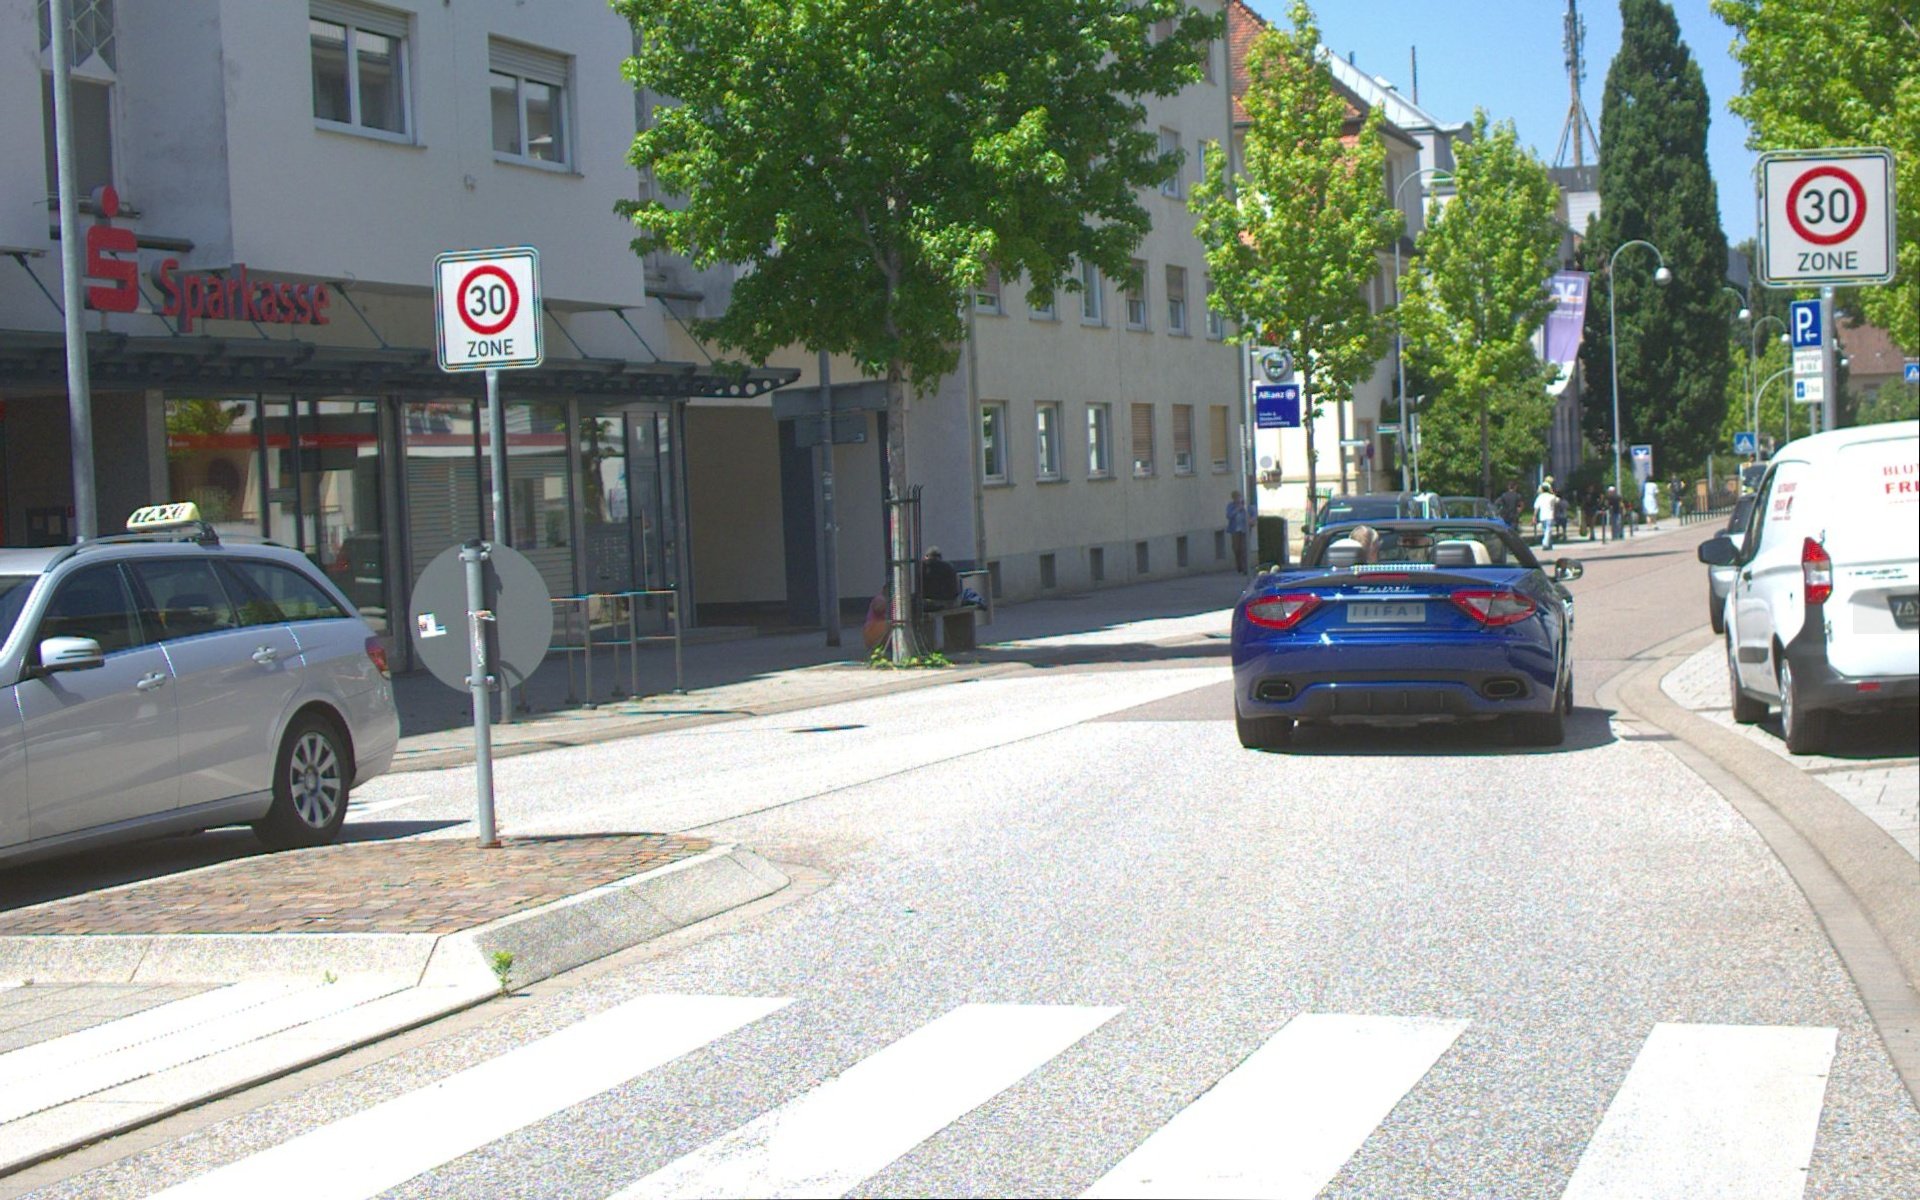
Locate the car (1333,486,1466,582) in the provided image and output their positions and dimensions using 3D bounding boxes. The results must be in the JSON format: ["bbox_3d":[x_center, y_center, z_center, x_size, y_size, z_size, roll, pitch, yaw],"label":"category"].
[{"bbox_3d":[8.231,-1.250,64.087,1.825,1.614,4.390,-1,3,16],"label":"car"}]

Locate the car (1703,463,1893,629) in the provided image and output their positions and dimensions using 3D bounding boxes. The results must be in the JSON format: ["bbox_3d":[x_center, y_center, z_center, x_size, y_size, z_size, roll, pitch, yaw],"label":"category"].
[{"bbox_3d":[8.732,-0.600,35.657,1.624,1.553,3.838,-3,1,17],"label":"car"}]

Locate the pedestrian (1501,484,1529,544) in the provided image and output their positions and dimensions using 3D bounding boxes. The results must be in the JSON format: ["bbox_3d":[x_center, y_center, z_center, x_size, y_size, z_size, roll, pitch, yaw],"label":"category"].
[{"bbox_3d":[13.993,-2.176,86.723,0.579,1.469,0.564,-2,2,16],"label":"pedestrian"}]

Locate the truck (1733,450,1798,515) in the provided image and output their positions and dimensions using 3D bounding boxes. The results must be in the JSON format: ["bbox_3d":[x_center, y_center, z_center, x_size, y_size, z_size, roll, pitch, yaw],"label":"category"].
[{"bbox_3d":[28.607,-4.199,122.032,1.806,2.110,4.712,-3,2,17],"label":"truck"}]

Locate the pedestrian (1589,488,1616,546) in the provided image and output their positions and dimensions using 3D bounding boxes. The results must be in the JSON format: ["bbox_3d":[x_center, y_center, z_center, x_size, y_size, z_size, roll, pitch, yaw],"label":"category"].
[{"bbox_3d":[16.664,-2.166,89.216,0.579,1.469,0.564,-2,2,16],"label":"pedestrian"}]

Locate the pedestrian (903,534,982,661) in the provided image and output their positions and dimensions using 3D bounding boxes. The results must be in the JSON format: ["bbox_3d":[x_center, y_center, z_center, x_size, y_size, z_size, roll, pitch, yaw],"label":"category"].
[{"bbox_3d":[-0.194,-0.028,38.151,0.568,1.367,0.666,-3,1,26],"label":"pedestrian"}]

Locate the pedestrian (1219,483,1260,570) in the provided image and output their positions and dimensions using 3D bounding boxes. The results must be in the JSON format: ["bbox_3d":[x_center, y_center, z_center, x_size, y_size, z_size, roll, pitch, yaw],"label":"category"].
[{"bbox_3d":[5.643,-1.485,69.351,0.656,1.674,0.631,-5,3,0],"label":"pedestrian"}]

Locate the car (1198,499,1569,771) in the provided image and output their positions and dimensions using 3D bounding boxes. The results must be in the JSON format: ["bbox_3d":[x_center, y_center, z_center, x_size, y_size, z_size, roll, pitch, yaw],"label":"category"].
[{"bbox_3d":[2.681,0.130,21.059,1.977,1.393,4.626,-1,2,9],"label":"car"}]

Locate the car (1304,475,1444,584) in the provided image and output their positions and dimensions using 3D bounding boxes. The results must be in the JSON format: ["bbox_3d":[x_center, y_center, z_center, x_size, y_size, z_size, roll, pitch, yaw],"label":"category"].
[{"bbox_3d":[7.146,-1.250,59.050,1.730,1.734,4.390,1,3,16],"label":"car"}]

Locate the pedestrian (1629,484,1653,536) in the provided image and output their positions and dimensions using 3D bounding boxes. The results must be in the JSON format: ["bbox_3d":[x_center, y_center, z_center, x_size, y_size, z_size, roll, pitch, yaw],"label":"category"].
[{"bbox_3d":[20.905,-2.755,105.543,0.587,1.569,0.781,-2,2,16],"label":"pedestrian"}]

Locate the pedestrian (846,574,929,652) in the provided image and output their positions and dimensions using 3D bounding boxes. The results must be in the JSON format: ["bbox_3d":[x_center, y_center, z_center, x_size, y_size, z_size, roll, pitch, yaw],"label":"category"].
[{"bbox_3d":[-0.827,0.150,39.437,0.665,0.855,0.731,-3,-2,26],"label":"pedestrian"}]

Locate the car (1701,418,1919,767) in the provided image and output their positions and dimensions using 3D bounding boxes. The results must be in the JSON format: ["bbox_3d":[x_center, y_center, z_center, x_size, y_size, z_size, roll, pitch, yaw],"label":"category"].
[{"bbox_3d":[5.278,-0.128,19.252,1.747,1.718,3.909,-4,1,7],"label":"car"}]

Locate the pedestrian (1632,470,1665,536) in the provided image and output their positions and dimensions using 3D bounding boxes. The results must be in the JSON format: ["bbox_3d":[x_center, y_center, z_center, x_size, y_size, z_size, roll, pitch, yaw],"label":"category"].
[{"bbox_3d":[21.099,-2.973,105.342,0.849,1.909,0.761,-4,3,15],"label":"pedestrian"}]

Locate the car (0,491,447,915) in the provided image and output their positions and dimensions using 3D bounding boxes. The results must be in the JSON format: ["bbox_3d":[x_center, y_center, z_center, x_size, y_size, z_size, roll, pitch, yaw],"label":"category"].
[{"bbox_3d":[-4.343,0.435,14.942,1.995,1.587,4.995,-3,2,19],"label":"car"}]
